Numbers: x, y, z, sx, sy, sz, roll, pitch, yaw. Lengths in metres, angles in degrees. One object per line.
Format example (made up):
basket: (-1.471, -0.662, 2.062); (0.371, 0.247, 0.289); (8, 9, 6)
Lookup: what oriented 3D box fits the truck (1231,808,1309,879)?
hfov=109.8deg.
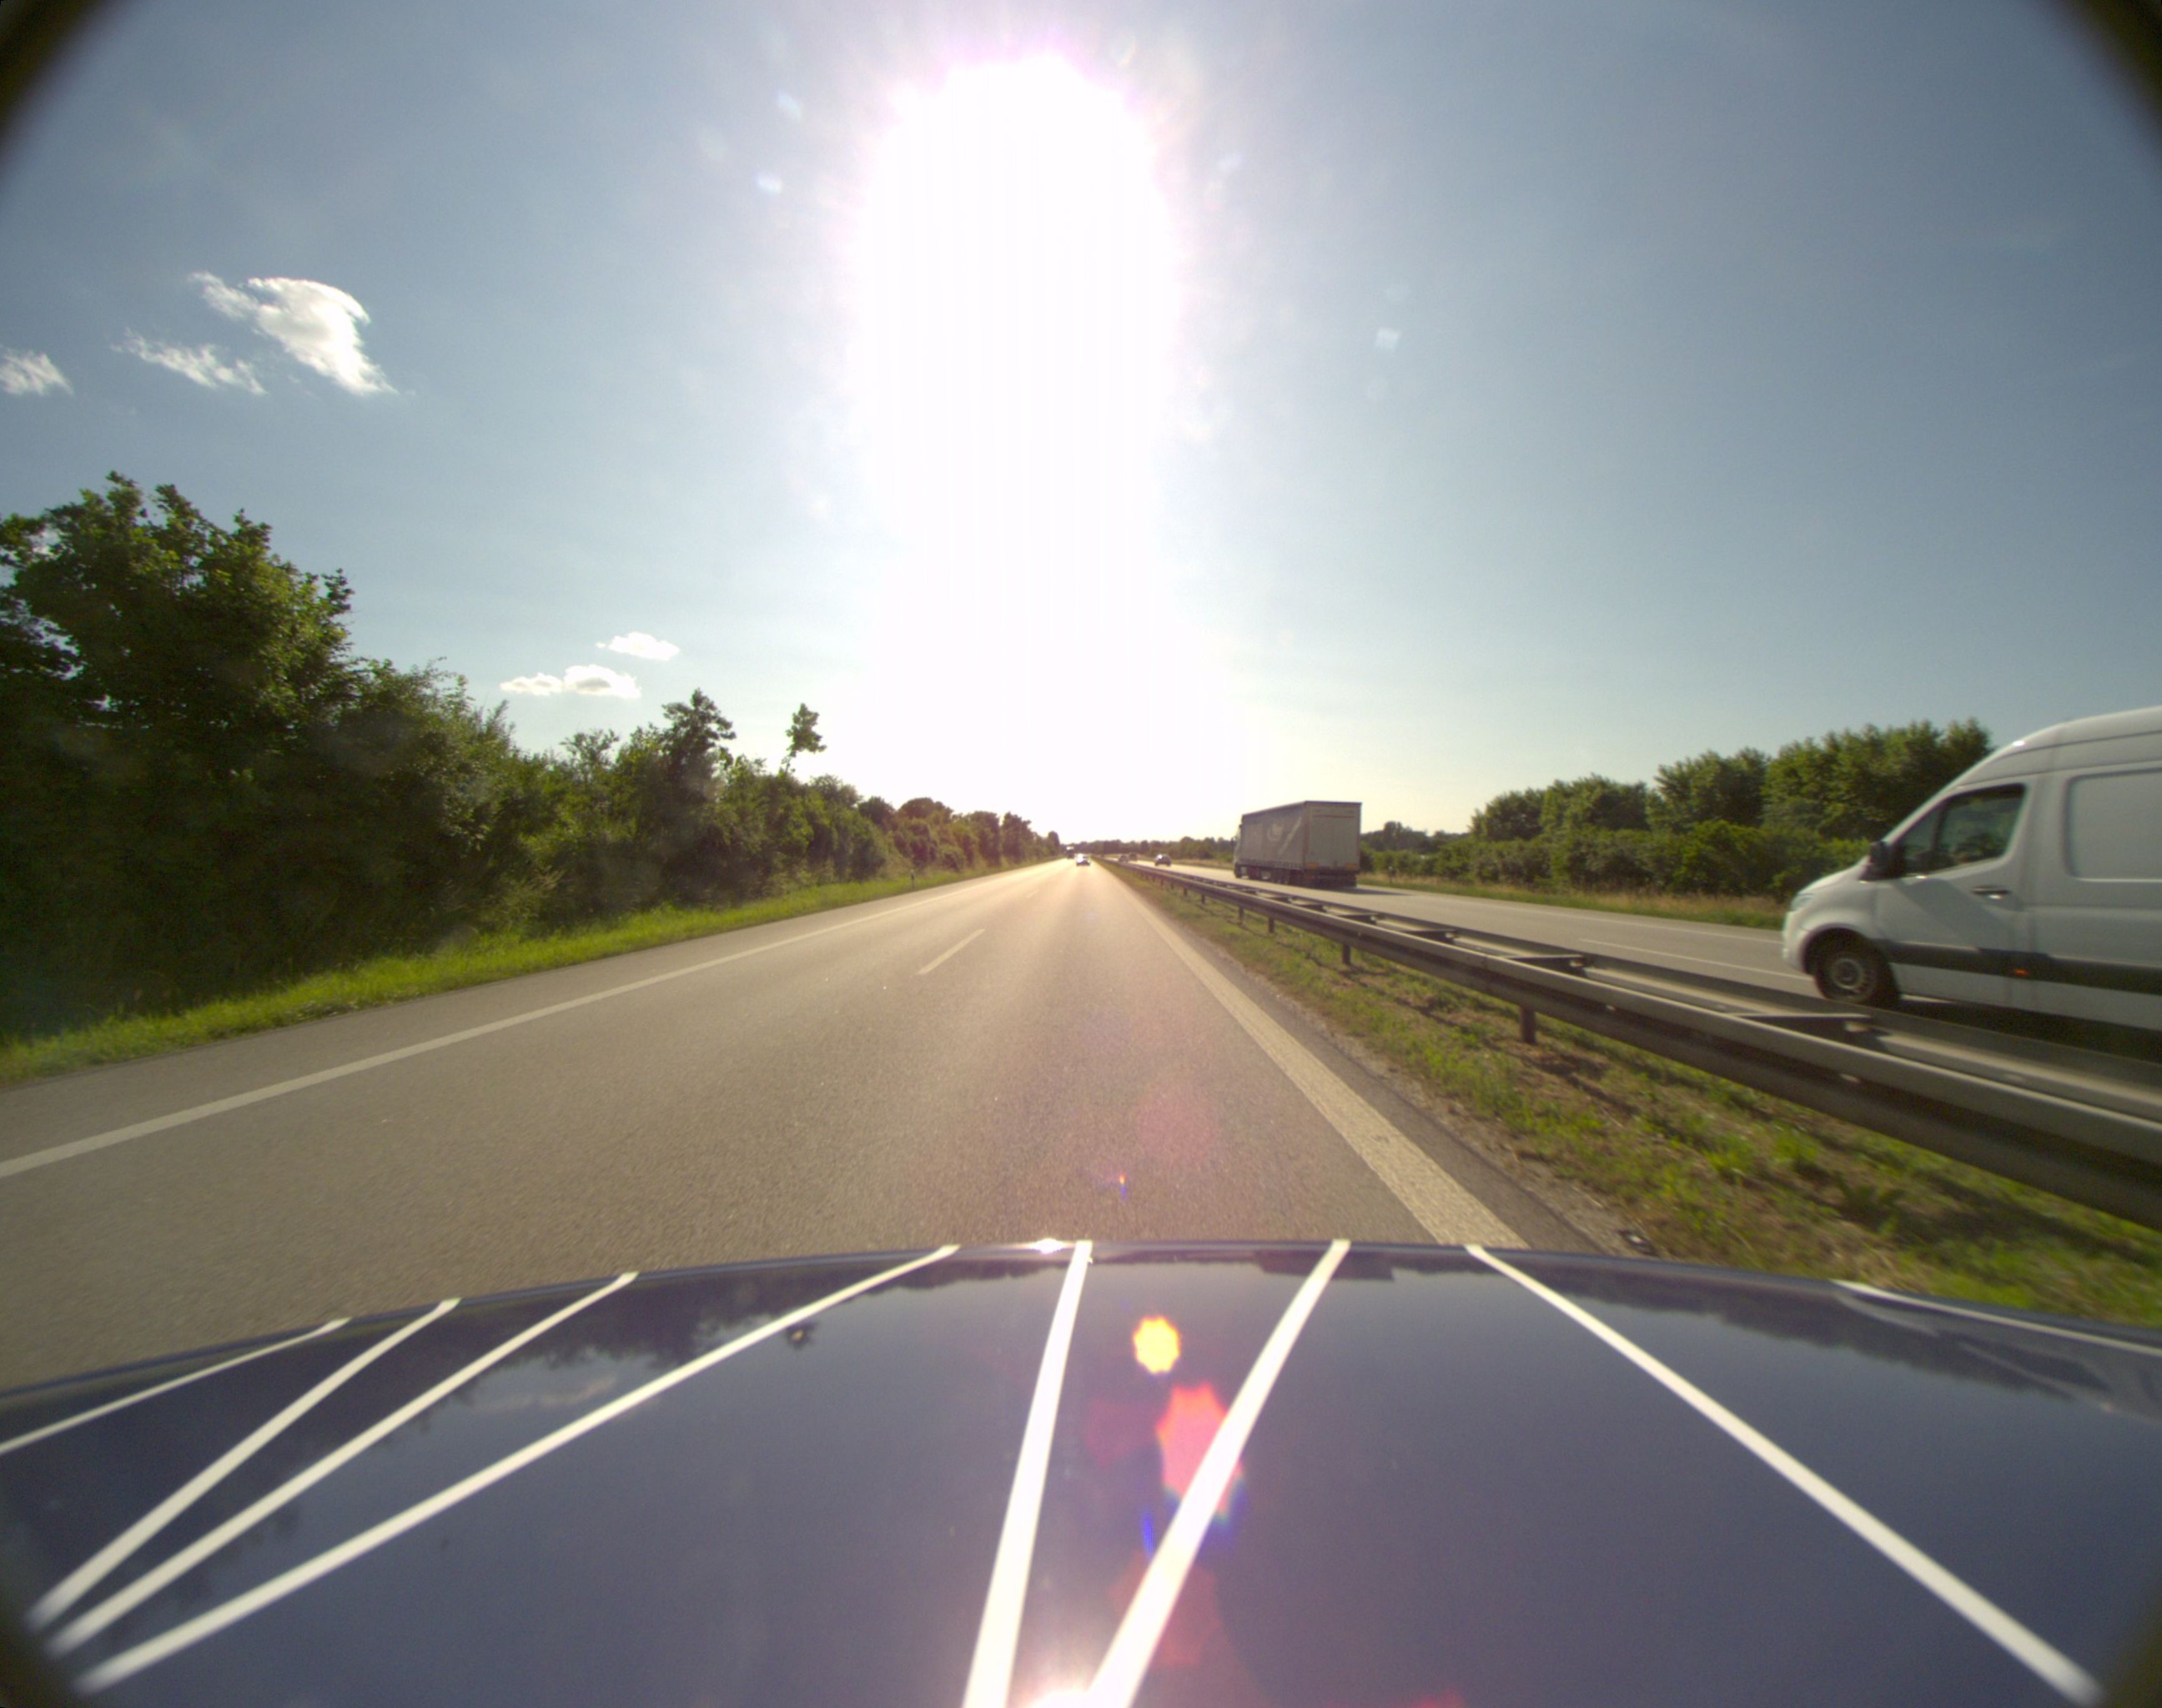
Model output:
truck: (11.630, -0.662, 47.454); (3.177, 4.090, 6.387); (1, 1, 0)

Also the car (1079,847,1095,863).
car: (0.824, 0.080, 100.602); (1.998, 2.002, 4.358); (-3, 1, 0)

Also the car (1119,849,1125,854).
car: (12.390, -0.861, 229.680); (1.734, 1.502, 4.479); (1, 1, 2)

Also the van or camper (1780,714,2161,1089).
van or camper: (8.156, 0.337, 4.152); (1.998, 2.482, 7.227); (1, 1, 0)

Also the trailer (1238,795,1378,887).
trailer: (11.624, -0.641, 41.123); (3.192, 4.036, 14.596); (1, 1, 0)

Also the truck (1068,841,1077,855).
truck: (-2.792, -1.982, 252.263); (2.759, 4.242, 8.492); (-3, 1, 0)

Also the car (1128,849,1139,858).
car: (11.052, -0.220, 160.227); (1.954, 1.761, 4.748); (2, 1, 2)

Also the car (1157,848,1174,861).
car: (10.983, 0.072, 99.327); (1.730, 1.573, 4.767); (2, 1, 1)

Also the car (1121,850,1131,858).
car: (8.709, 0.029, 147.911); (1.771, 1.412, 4.470); (2, 1, 2)
